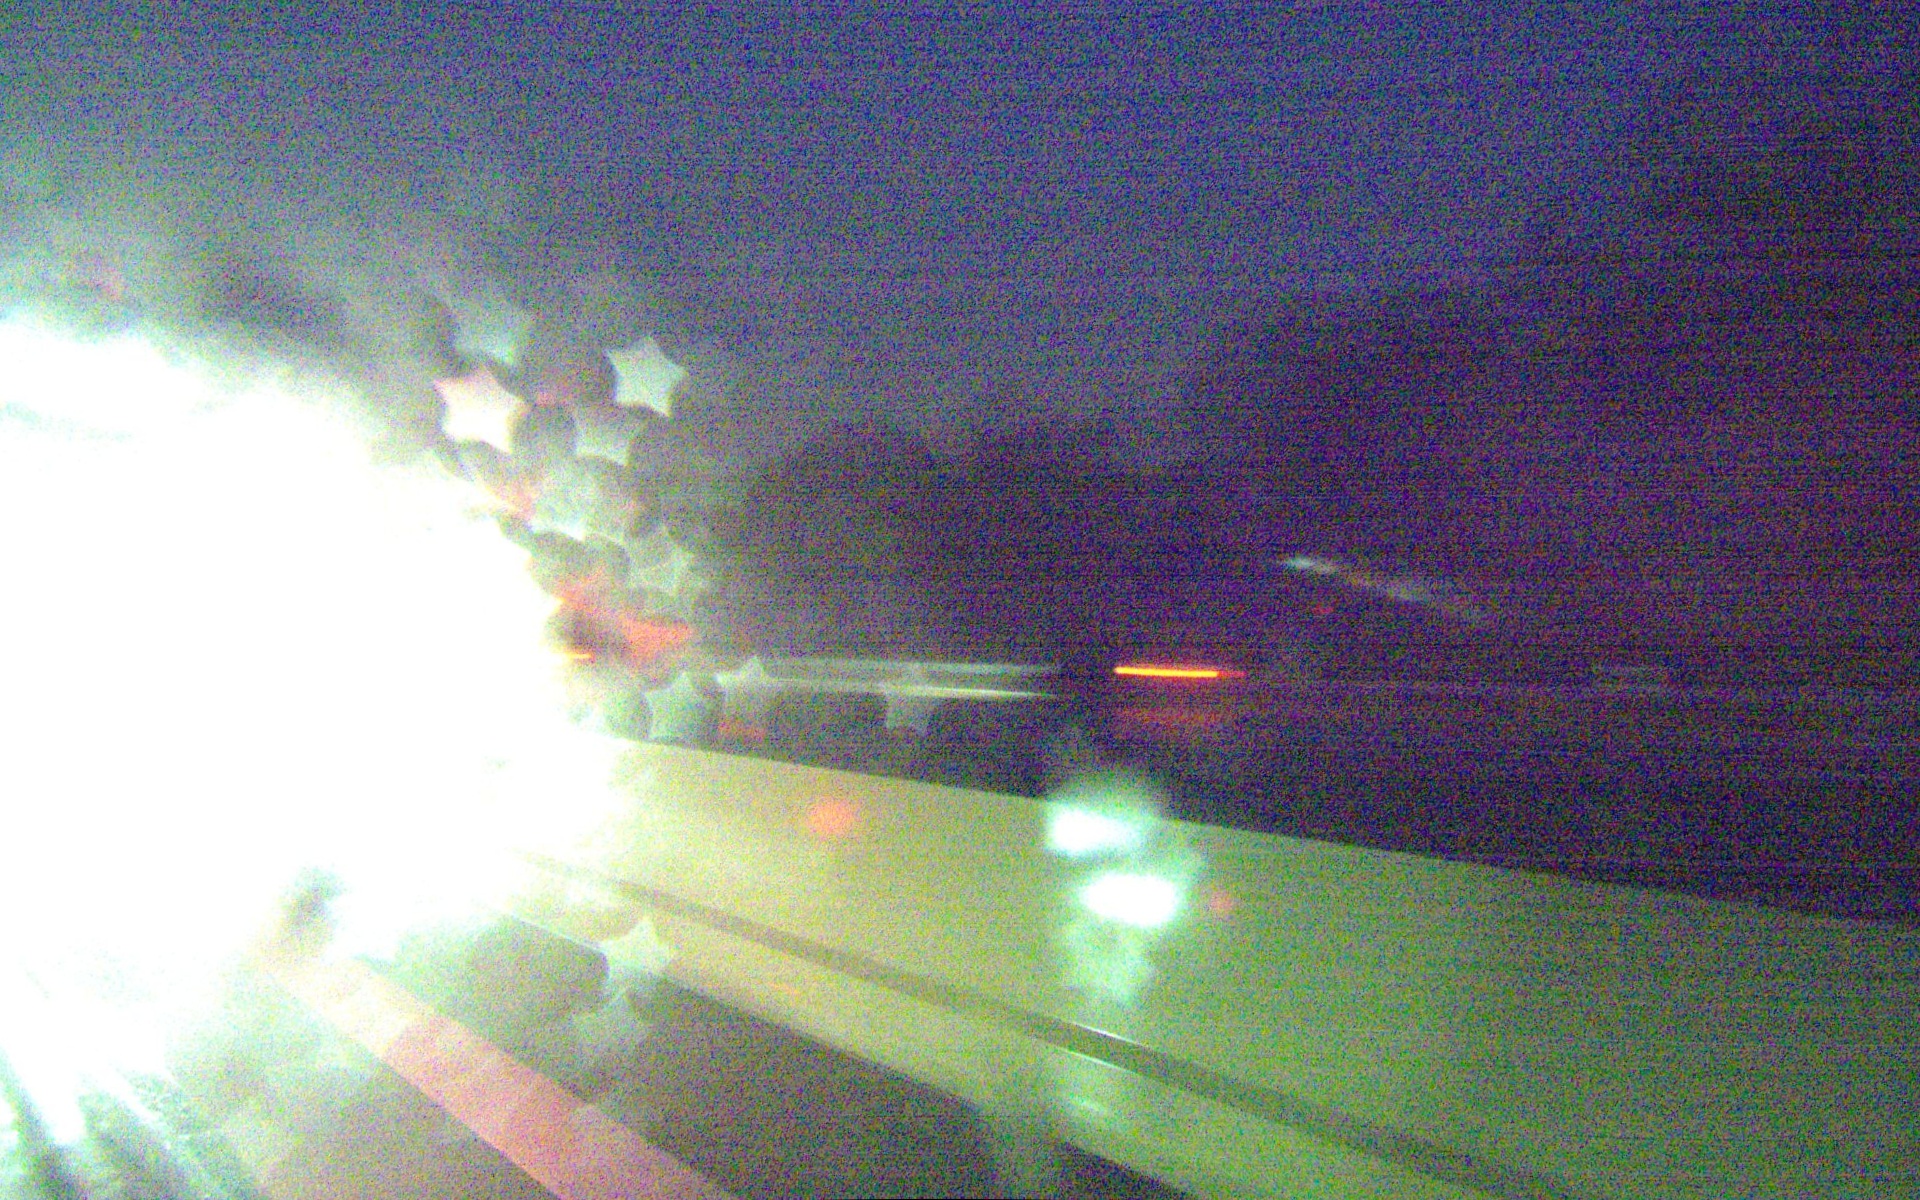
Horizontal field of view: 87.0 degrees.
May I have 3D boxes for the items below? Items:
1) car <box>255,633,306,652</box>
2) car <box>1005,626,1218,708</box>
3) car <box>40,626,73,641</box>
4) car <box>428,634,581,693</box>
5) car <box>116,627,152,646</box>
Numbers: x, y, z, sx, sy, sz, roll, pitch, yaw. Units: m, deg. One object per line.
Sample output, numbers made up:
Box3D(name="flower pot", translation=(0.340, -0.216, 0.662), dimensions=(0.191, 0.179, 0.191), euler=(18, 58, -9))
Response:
Box3D(name="car", translation=(-43.329, 2.692, 64.520), dimensions=(4.043, 1.111, 1.621), euler=(-1, 0, 40))
Box3D(name="car", translation=(3.893, 1.688, 26.729), dimensions=(5.384, 1.963, 1.973), euler=(-2, -3, 41))
Box3D(name="car", translation=(-90.597, 3.306, 101.487), dimensions=(4.349, 1.433, 1.764), euler=(-1, -3, 40))
Box3D(name="car", translation=(-12.158, 1.623, 26.885), dimensions=(4.587, 1.426, 1.973), euler=(-2, -3, 41))
Box3D(name="car", translation=(-76.934, 3.373, 94.231), dimensions=(5.371, 1.595, 1.872), euler=(-1, 0, 43))
